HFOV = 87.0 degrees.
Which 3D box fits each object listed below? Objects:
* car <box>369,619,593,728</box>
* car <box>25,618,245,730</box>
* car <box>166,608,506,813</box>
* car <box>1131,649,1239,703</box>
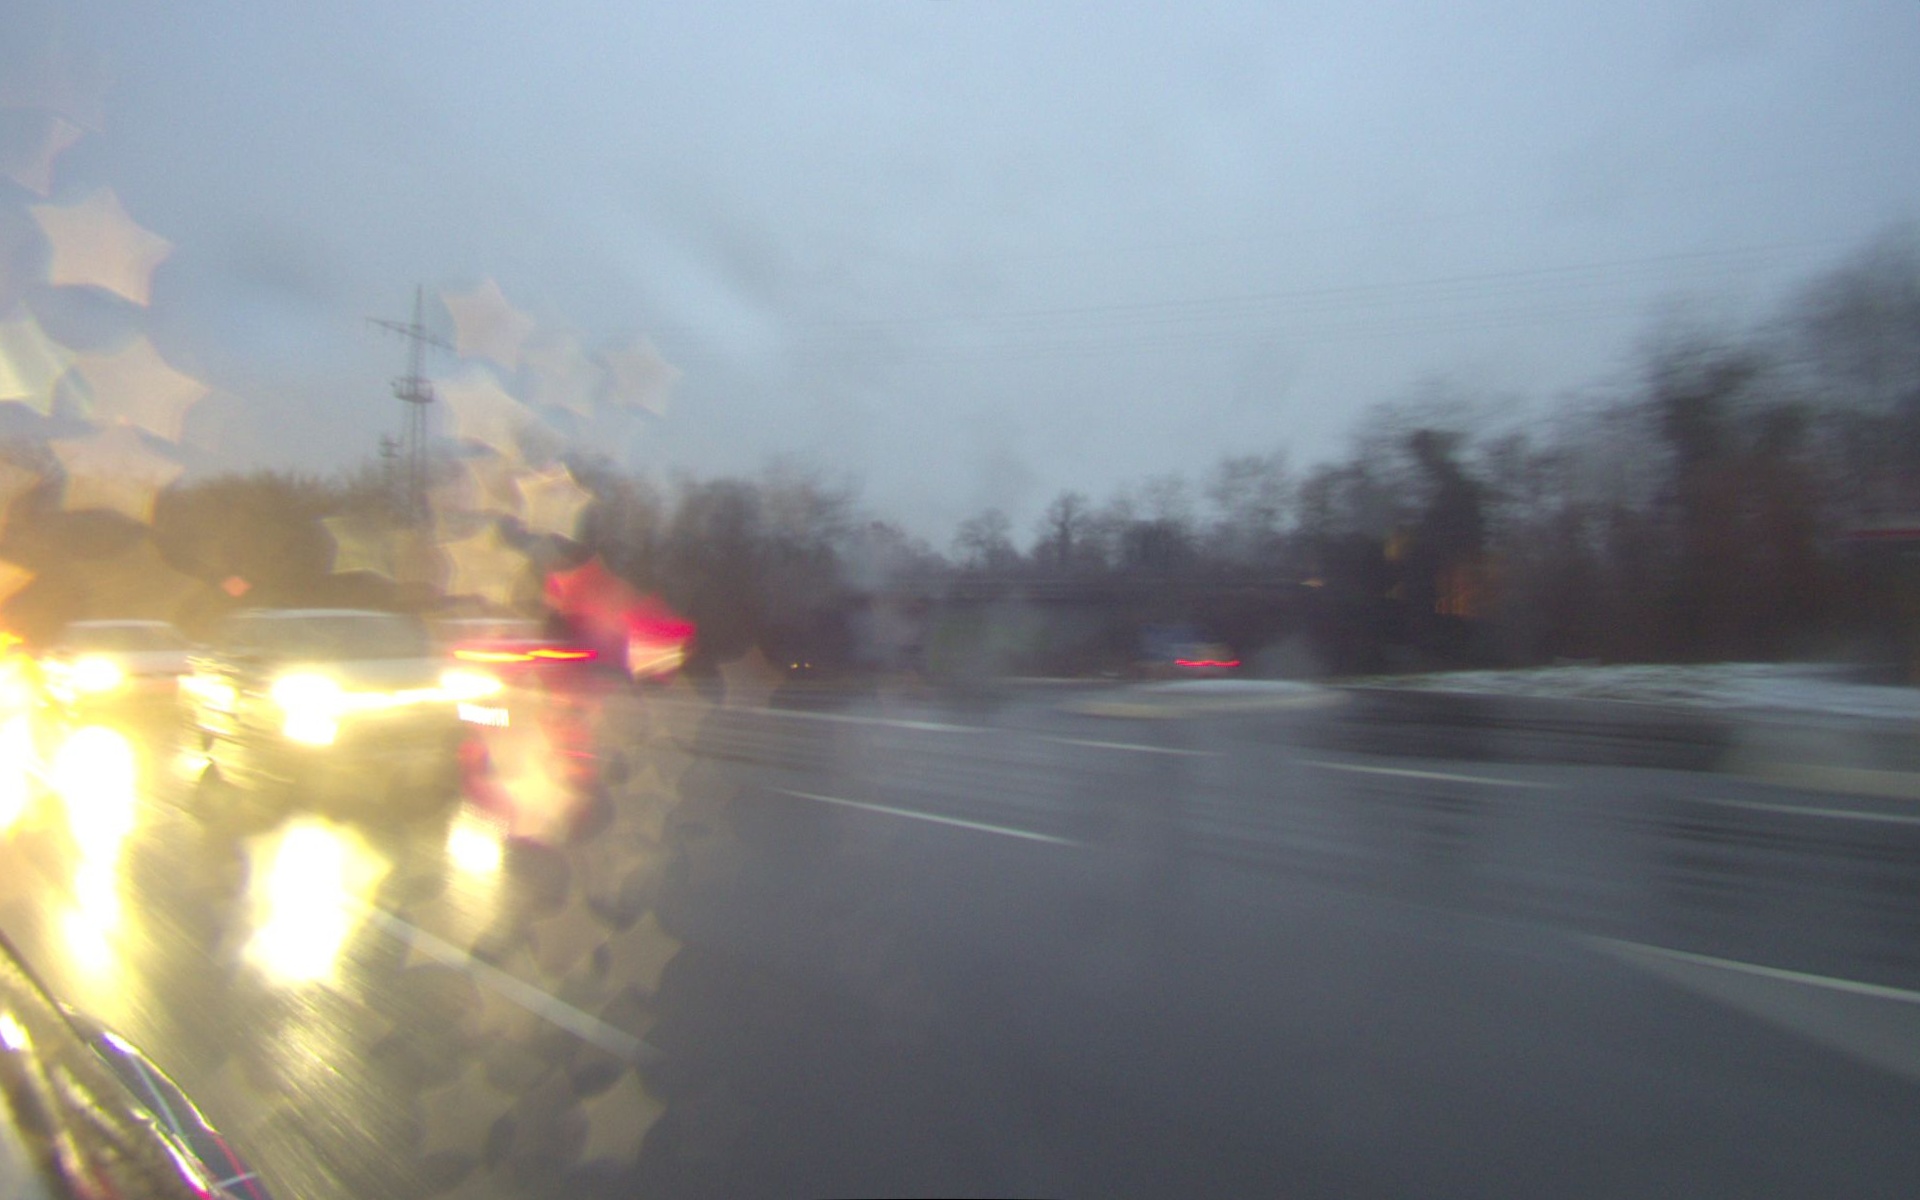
[{"bbox_3d":[-8.335,1.164,17.427,4.570,1.629,1.804,-1,-1,41],"label":"car"},{"bbox_3d":[-13.602,1.082,16.596,4.513,1.567,1.985,-1,-1,40],"label":"car"},{"bbox_3d":[-6.346,0.925,10.102,4.215,1.639,1.695,-1,-1,41],"label":"car"},{"bbox_3d":[9.050,3.031,41.186,1.923,1.769,4.827,-2,1,-21],"label":"car"}]
